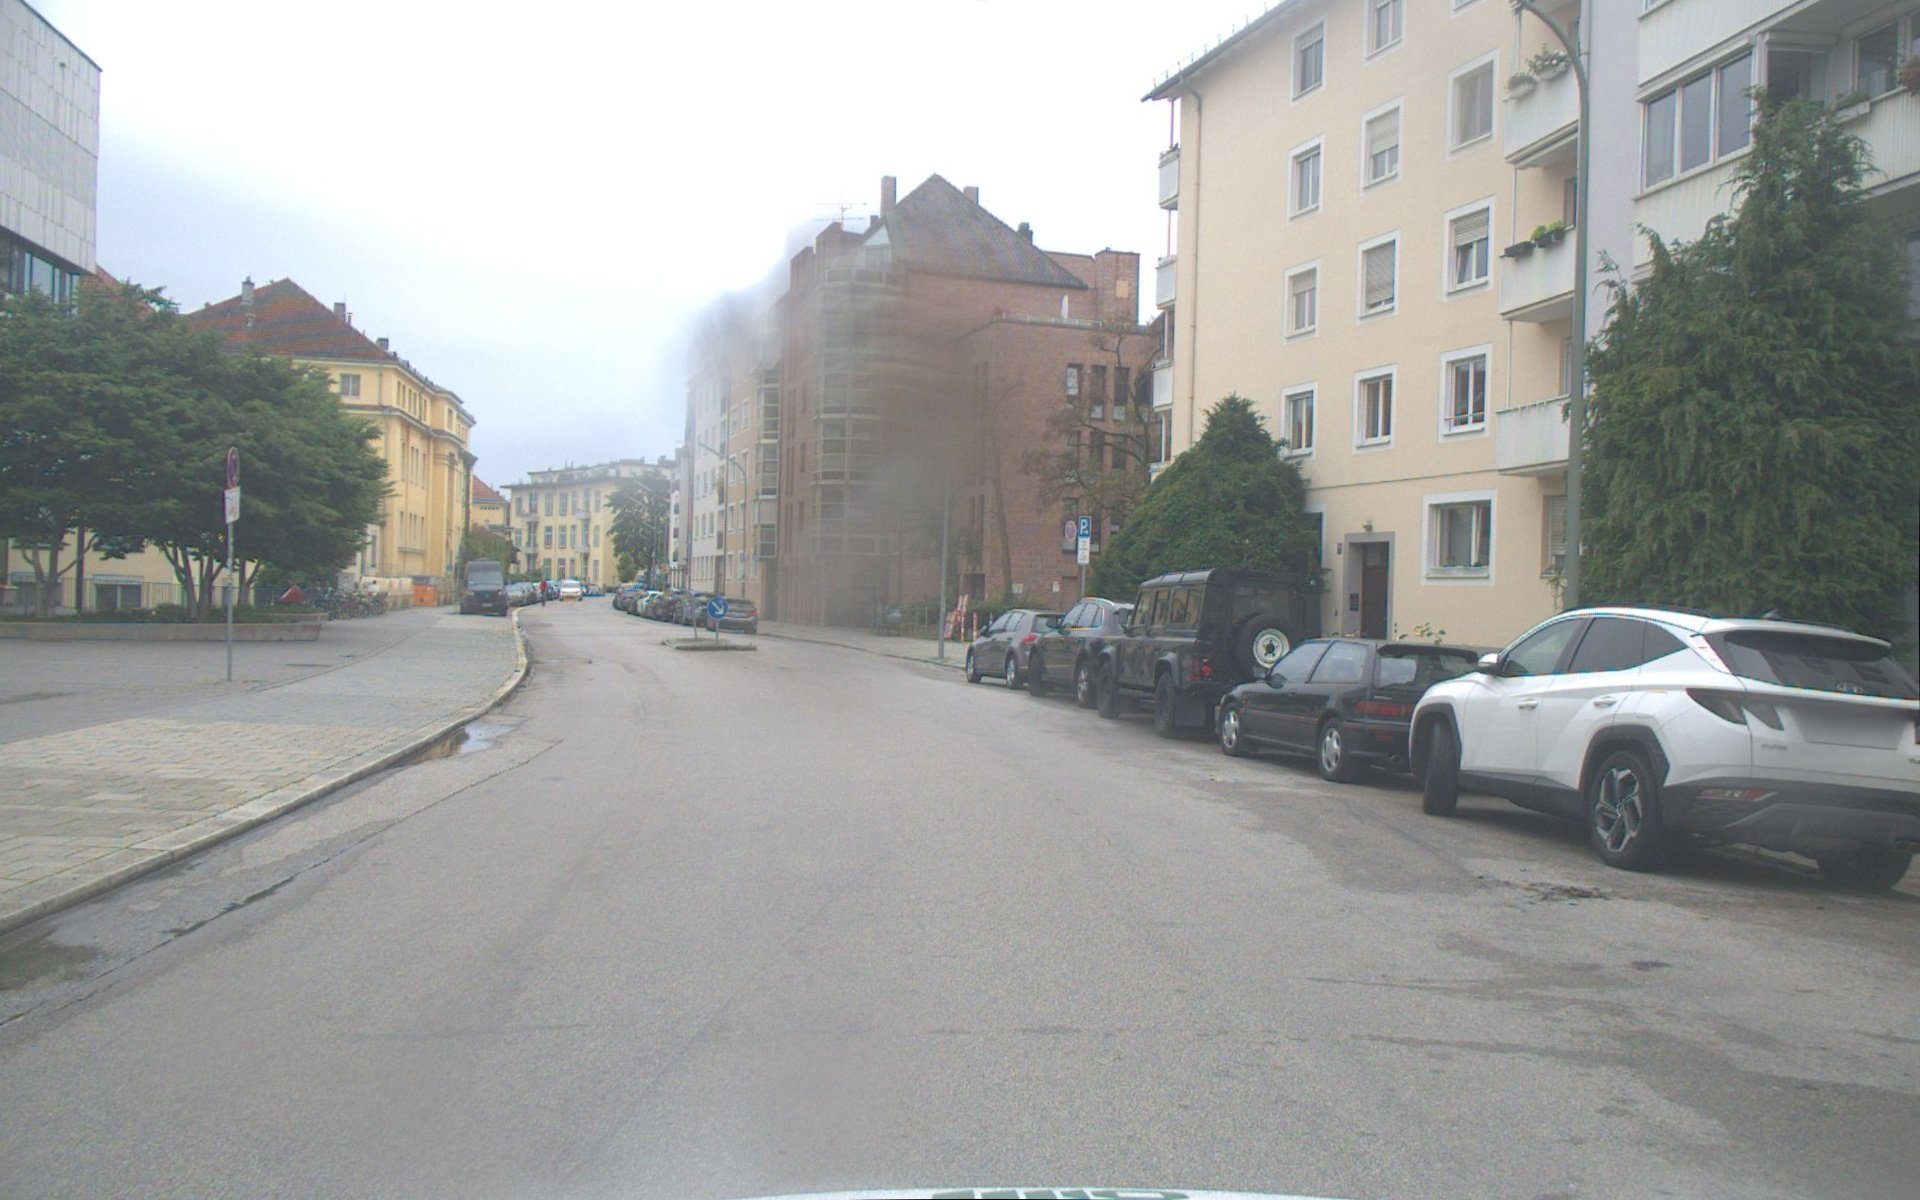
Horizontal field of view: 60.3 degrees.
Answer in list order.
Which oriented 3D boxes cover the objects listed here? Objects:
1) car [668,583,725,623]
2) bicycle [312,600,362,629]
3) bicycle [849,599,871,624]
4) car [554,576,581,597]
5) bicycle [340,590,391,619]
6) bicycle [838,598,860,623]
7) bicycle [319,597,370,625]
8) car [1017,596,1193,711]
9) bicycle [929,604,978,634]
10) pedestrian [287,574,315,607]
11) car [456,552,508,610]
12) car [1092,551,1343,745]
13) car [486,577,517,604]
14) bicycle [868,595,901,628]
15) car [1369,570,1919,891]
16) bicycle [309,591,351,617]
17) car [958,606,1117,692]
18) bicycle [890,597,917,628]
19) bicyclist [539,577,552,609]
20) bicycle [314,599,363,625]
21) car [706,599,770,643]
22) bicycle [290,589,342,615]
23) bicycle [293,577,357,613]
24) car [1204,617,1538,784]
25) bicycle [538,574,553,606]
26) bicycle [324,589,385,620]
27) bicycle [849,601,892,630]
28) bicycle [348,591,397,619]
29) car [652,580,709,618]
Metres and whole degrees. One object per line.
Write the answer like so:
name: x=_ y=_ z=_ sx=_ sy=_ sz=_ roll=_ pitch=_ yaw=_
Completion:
car: x=-12.262 y=0.128 z=76.848 sx=1.803 sy=1.629 sz=4.242 roll=3 pitch=1 yaw=-20
bicycle: x=-25.158 y=0.576 z=66.827 sx=1.756 sy=1.051 sz=0.507 roll=4 pitch=0 yaw=-7
bicycle: x=-4.560 y=0.514 z=75.263 sx=0.478 sy=1.078 sz=1.985 roll=3 pitch=0 yaw=-18
car: x=-32.561 y=-1.101 z=137.134 sx=1.992 sy=1.650 sz=4.487 roll=0 pitch=-1 yaw=-15
bicycle: x=-25.877 y=0.200 z=72.014 sx=1.919 sy=1.151 sz=0.572 roll=4 pitch=0 yaw=-7
bicycle: x=-5.040 y=0.471 z=75.113 sx=0.478 sy=1.078 sz=1.985 roll=3 pitch=-1 yaw=-18
bicycle: x=-25.147 y=0.441 z=67.600 sx=1.831 sy=1.047 sz=0.539 roll=4 pitch=0 yaw=-7
car: x=2.204 y=0.775 z=26.354 sx=1.628 sy=1.593 sz=4.504 roll=3 pitch=0 yaw=-10
bicycle: x=-0.236 y=0.706 z=60.136 sx=1.673 sy=0.982 sz=0.544 roll=3 pitch=0 yaw=-16
pedestrian: x=-24.455 y=-0.347 z=61.405 sx=0.705 sy=1.183 sz=1.038 roll=3 pitch=0 yaw=-11
car: x=-24.076 y=-0.904 z=83.135 sx=2.384 sy=2.762 sz=5.923 roll=1 pitch=0 yaw=-18
car: x=3.124 y=0.507 z=21.091 sx=1.716 sy=2.117 sz=4.506 roll=3 pitch=1 yaw=-10
car: x=-30.120 y=-0.643 z=108.657 sx=1.742 sy=1.577 sz=3.765 roll=3 pitch=1 yaw=-14
bicycle: x=-3.111 y=0.473 z=67.698 sx=0.526 sy=1.270 sz=2.397 roll=3 pitch=-2 yaw=-22
car: x=4.774 y=0.713 z=11.478 sx=1.989 sy=1.707 sz=4.602 roll=3 pitch=1 yaw=-10
bicycle: x=-23.580 y=0.155 z=61.887 sx=1.347 sy=0.877 sz=0.438 roll=3 pitch=0 yaw=-10
car: x=1.365 y=0.874 z=30.897 sx=1.726 sy=1.421 sz=4.027 roll=4 pitch=-1 yaw=-16
bicycle: x=-2.262 y=0.512 z=66.297 sx=0.412 sy=1.193 sz=1.359 roll=3 pitch=0 yaw=28
bicyclist: x=-27.268 y=-0.464 z=108.799 sx=0.753 sy=2.048 sz=0.766 roll=-2 pitch=1 yaw=-11
bicycle: x=-24.527 y=0.469 z=65.259 sx=1.642 sy=0.932 sz=0.594 roll=4 pitch=0 yaw=-7
car: x=-8.994 y=0.827 z=66.720 sx=1.894 sy=1.538 sz=4.372 roll=4 pitch=0 yaw=-16
bicycle: x=-23.656 y=0.075 z=60.791 sx=1.688 sy=0.877 sz=0.438 roll=3 pitch=0 yaw=-10
bicycle: x=-24.312 y=-0.189 z=63.367 sx=2.064 sy=1.249 sz=0.786 roll=4 pitch=0 yaw=-7
car: x=3.911 y=0.908 z=16.388 sx=1.630 sy=1.372 sz=3.791 roll=3 pitch=-1 yaw=-13
bicycle: x=-27.221 y=-0.682 z=108.688 sx=0.734 sy=2.048 sz=2.841 roll=0 pitch=1 yaw=-10
bicycle: x=-25.364 y=0.173 z=69.320 sx=2.266 sy=1.154 sz=0.581 roll=4 pitch=0 yaw=-7
bicycle: x=-3.972 y=0.706 z=73.634 sx=1.815 sy=1.167 sz=0.486 roll=3 pitch=0 yaw=-11
bicycle: x=-26.157 y=0.205 z=73.625 sx=1.868 sy=1.111 sz=0.677 roll=4 pitch=0 yaw=-7
car: x=-13.765 y=-0.078 z=81.349 sx=1.935 sy=1.629 sz=4.645 roll=3 pitch=1 yaw=-20
